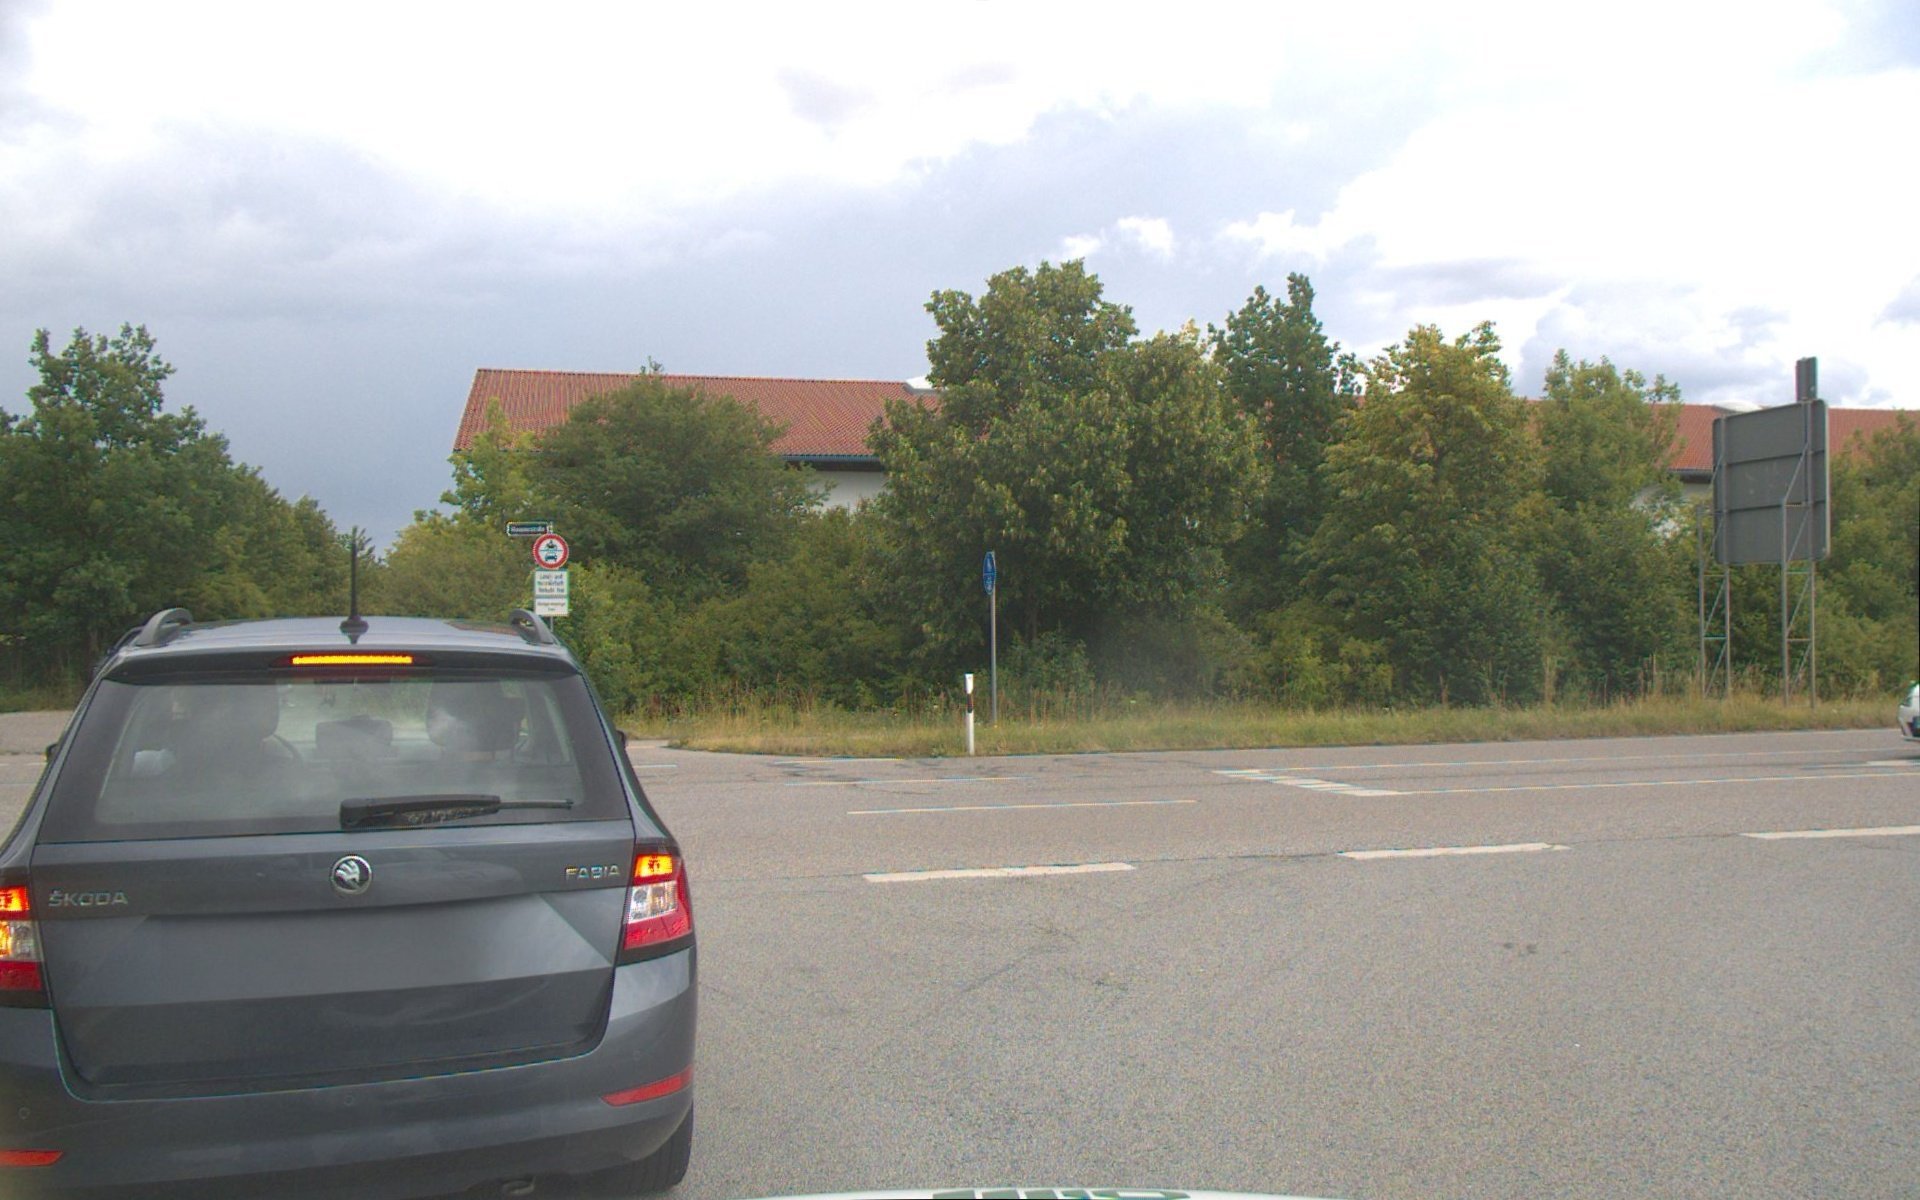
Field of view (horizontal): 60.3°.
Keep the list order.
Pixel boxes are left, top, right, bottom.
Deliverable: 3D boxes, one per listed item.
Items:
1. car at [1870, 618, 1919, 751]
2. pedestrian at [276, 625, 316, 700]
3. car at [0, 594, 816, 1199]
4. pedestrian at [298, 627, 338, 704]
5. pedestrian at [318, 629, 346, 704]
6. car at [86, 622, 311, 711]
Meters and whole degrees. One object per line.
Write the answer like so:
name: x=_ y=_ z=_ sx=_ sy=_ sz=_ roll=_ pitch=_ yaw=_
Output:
car: x=12.476 y=0.858 z=18.216 sx=4.228 sy=1.433 sz=1.812 roll=-1 pitch=-2 yaw=-16
pedestrian: x=-15.752 y=1.479 z=39.224 sx=0.687 sy=1.753 sz=0.732 roll=-1 pitch=-1 yaw=-7
car: x=-1.786 y=0.749 z=5.050 sx=1.688 sy=1.473 sz=4.092 roll=1 pitch=-1 yaw=-20
pedestrian: x=-14.873 y=1.504 z=38.333 sx=0.710 sy=1.753 sz=0.790 roll=-1 pitch=-1 yaw=-10
pedestrian: x=-15.164 y=1.589 z=39.931 sx=0.481 sy=1.777 sz=0.641 roll=-1 pitch=0 yaw=-10
car: x=-17.785 y=1.552 z=38.578 sx=4.985 sy=1.919 sz=2.111 roll=-2 pitch=0 yaw=27
